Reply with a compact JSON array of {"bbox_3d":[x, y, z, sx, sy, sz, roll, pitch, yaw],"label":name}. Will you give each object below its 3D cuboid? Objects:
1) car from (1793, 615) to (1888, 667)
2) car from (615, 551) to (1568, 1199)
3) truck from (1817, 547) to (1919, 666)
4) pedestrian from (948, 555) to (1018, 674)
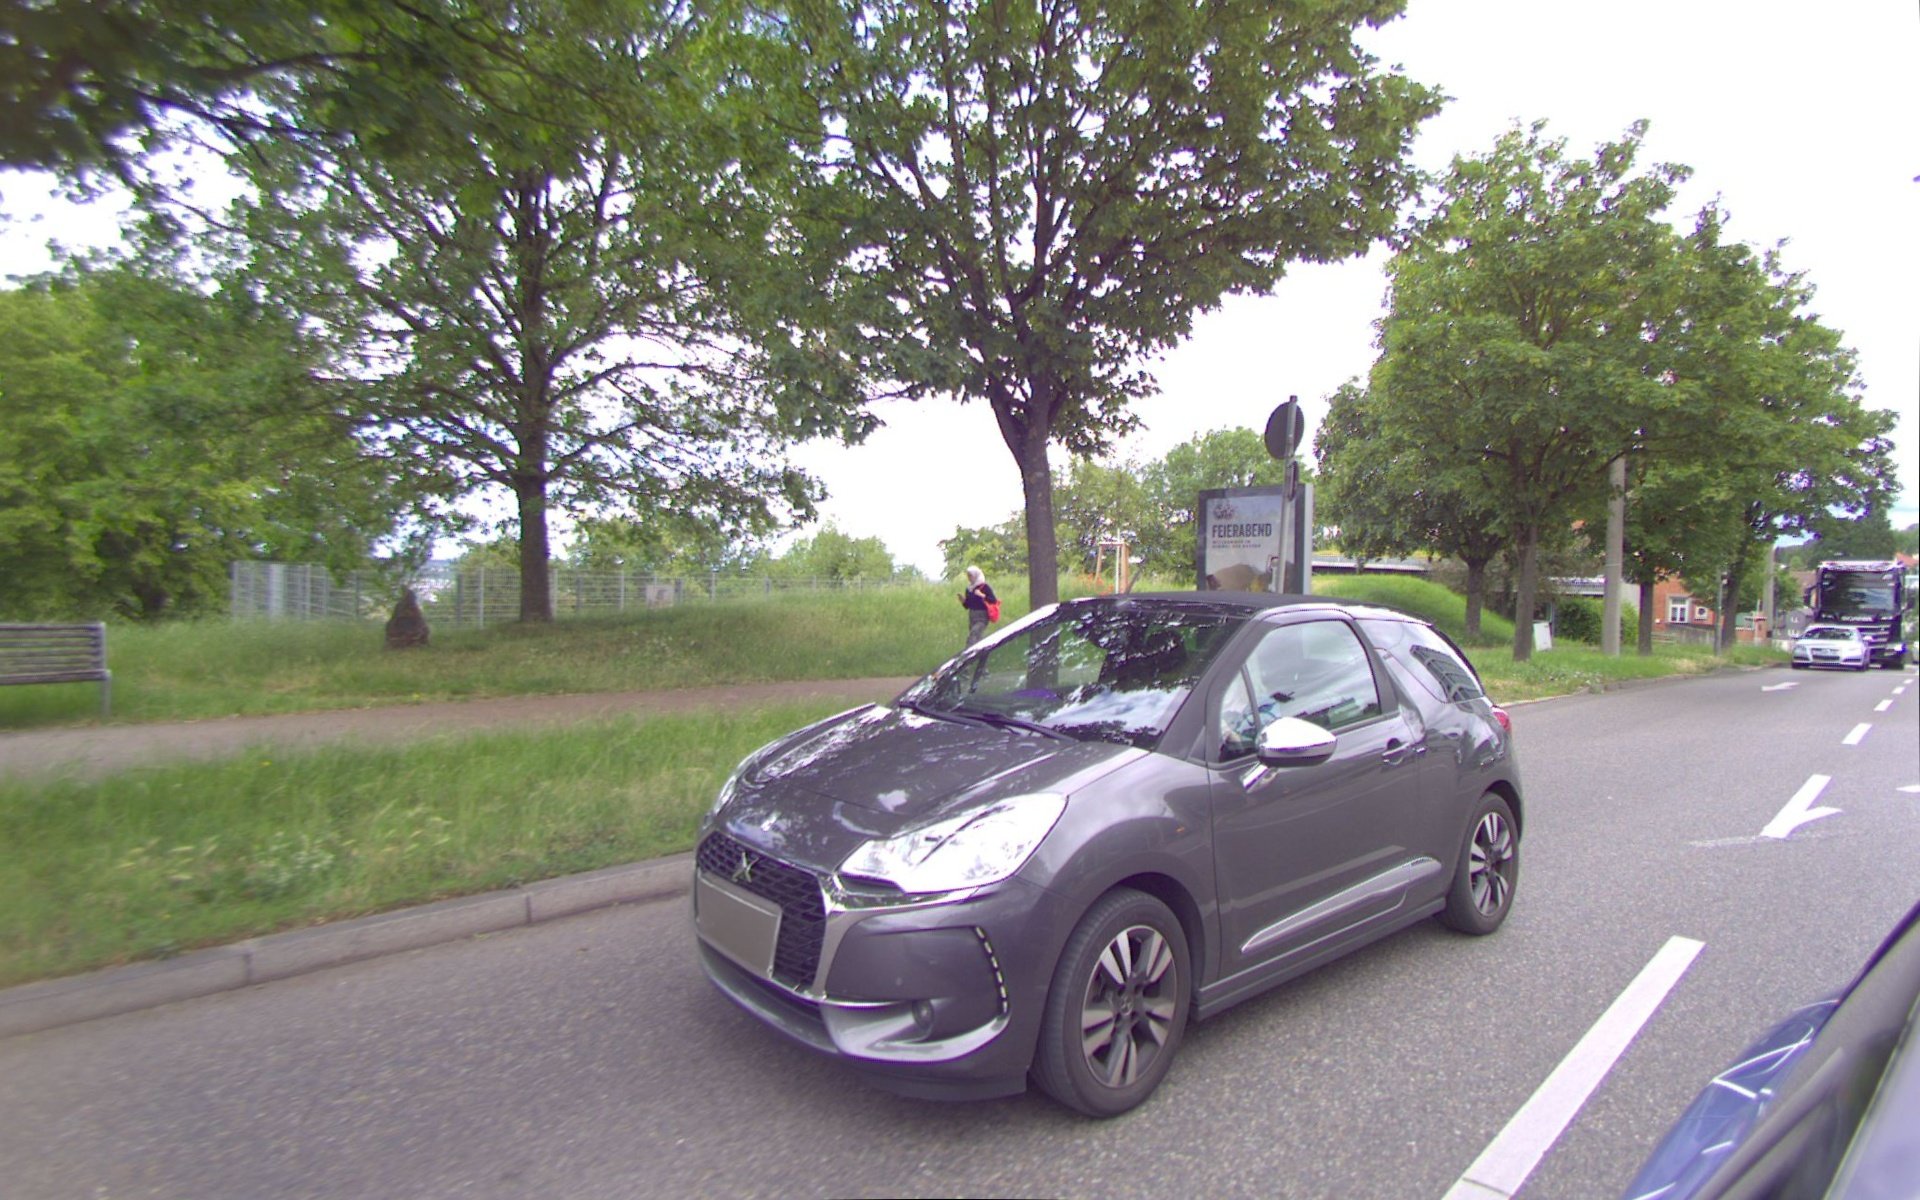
[{"bbox_3d":[27.700,1.228,31.790,4.091,1.461,1.984,0,0,-45],"label":"car"},{"bbox_3d":[0.852,0.631,4.209,3.990,1.479,1.704,0,0,-40],"label":"car"},{"bbox_3d":[34.345,0.219,37.916,2.820,3.975,9.307,0,0,44],"label":"truck"},{"bbox_3d":[0.328,0.202,14.483,0.690,1.623,0.542,1,5,-44],"label":"pedestrian"}]
